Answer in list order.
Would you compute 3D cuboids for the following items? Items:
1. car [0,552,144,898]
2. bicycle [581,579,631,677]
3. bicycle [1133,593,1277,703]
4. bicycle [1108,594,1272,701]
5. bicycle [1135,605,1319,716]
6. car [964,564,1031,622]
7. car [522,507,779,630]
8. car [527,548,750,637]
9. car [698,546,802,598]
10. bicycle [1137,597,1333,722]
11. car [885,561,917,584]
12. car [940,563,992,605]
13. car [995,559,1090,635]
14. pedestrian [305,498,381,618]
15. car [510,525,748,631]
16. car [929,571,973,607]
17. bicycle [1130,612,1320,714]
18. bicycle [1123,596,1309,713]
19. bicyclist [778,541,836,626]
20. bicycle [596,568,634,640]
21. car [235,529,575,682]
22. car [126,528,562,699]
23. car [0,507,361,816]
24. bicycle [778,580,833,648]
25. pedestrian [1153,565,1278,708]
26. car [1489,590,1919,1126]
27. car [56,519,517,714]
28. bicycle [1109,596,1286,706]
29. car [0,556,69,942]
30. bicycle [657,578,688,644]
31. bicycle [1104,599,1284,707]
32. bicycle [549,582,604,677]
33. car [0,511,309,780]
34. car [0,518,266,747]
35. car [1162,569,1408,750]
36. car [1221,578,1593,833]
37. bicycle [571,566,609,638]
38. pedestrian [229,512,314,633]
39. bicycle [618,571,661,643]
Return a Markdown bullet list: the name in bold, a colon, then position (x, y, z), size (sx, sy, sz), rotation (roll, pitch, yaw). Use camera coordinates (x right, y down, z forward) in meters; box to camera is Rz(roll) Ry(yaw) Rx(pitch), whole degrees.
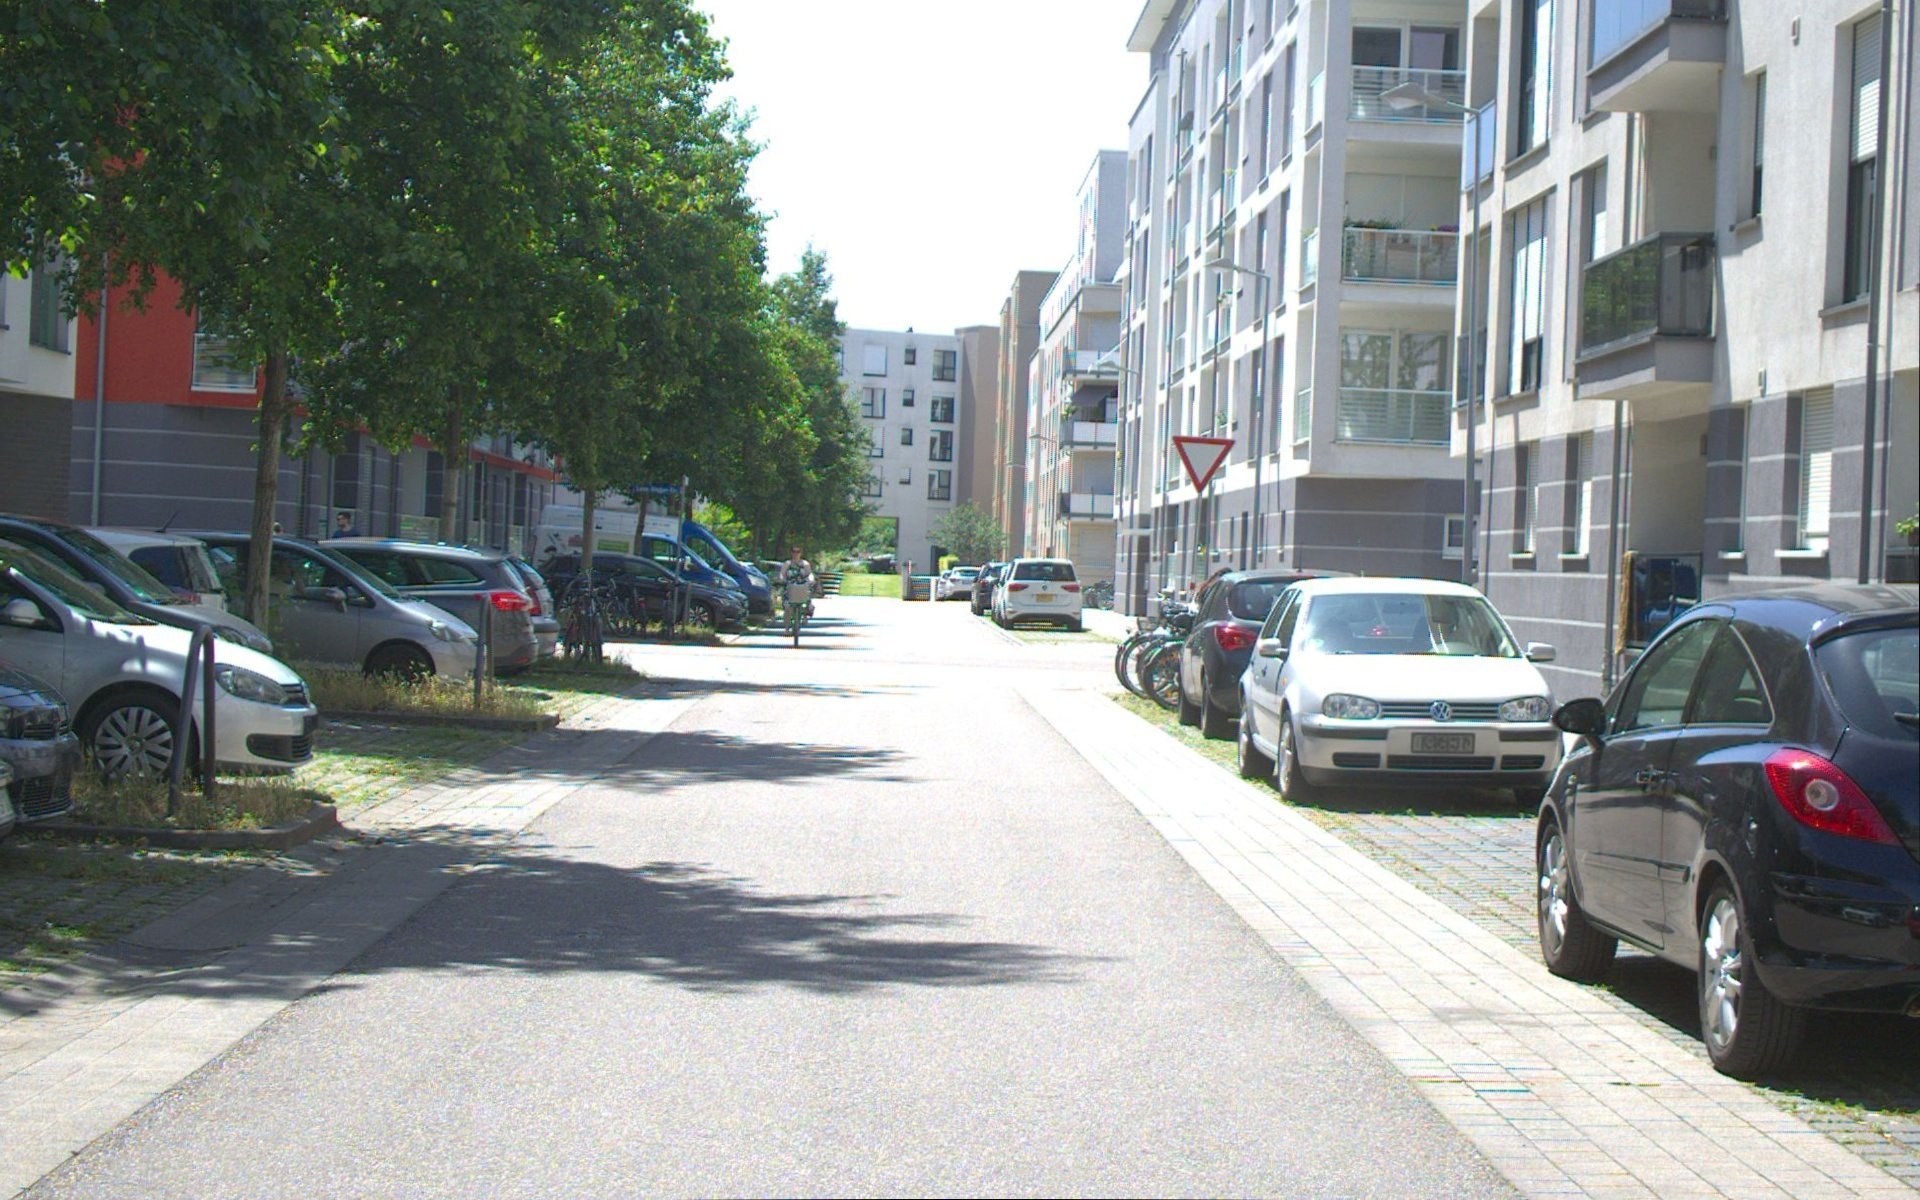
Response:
- **car**: position (-5.932, 0.400, 15.474), size (3.987, 1.417, 1.897), rotation (4, 1, 0)
- **bicycle**: position (-4.433, 0.337, 42.946), size (0.371, 1.176, 1.821), rotation (2, 1, -13)
- **bicycle**: position (2.798, 0.546, 39.369), size (1.550, 1.213, 0.708), rotation (1, 0, -2)
- **bicycle**: position (2.674, 0.546, 40.078), size (1.859, 1.189, 0.687), rotation (1, 0, 2)
- **bicycle**: position (2.768, 0.627, 35.776), size (1.786, 1.100, 0.747), rotation (1, 0, -4)
- **car**: position (1.101, -0.204, 98.922), size (1.757, 1.547, 4.000), rotation (3, 1, 2)
- **car**: position (-7.517, -0.775, 84.132), size (6.023, 2.807, 2.605), rotation (2, 0, -1)
- **car**: position (-6.647, -0.171, 71.528), size (4.383, 1.509, 2.075), rotation (4, 0, -1)
- **car**: position (-8.709, -1.156, 142.966), size (3.988, 2.007, 2.000), rotation (2, 0, 6)
- **bicycle**: position (2.794, 0.601, 35.029), size (1.869, 1.213, 0.715), rotation (1, 0, -4)
- **car**: position (-3.988, -1.854, 230.841), size (1.993, 1.514, 4.000), rotation (2, 1, -2)
- **car**: position (0.230, -0.701, 147.470), size (1.993, 1.669, 4.000), rotation (2, 1, -2)
- **car**: position (1.858, -0.091, 78.818), size (1.997, 1.651, 4.115), rotation (2, 1, 0)
- **pedestrian**: position (-10.568, -0.718, 58.885), size (1.009, 2.007, 1.129), rotation (2, 0, 2)
- **car**: position (-7.545, -0.520, 78.702), size (5.145, 2.112, 2.312), rotation (3, 1, -1)
- **car**: position (-0.474, -0.573, 174.695), size (1.993, 1.711, 4.000), rotation (2, 1, -2)
- **bicycle**: position (2.804, 0.667, 36.471), size (1.923, 1.031, 0.559), rotation (1, 0, -4)
- **bicycle**: position (2.758, 0.585, 37.132), size (1.923, 1.213, 0.461), rotation (1, 0, -10)
- **bicyclist**: position (-2.681, -0.296, 60.350), size (0.954, 1.454, 0.800), rotation (2, 0, -2)
- **bicycle**: position (-6.164, 0.065, 61.418), size (0.434, 1.200, 1.700), rotation (4, 2, 0)
- **car**: position (-6.479, 0.054, 40.402), size (3.630, 1.515, 1.832), rotation (4, 0, -1)
- **car**: position (-6.283, 0.145, 35.486), size (4.180, 1.481, 1.959), rotation (3, -1, -4)
- **car**: position (-5.805, 0.322, 20.013), size (4.360, 1.704, 2.000), rotation (0, 1, -3)
- **bicycle**: position (-2.709, 0.231, 60.339), size (0.898, 1.125, 2.040), rotation (2, 1, -2)
- **pedestrian**: position (2.763, 0.392, 37.258), size (1.178, 1.509, 0.688), rotation (1, 0, -10)
- **car**: position (2.998, 0.722, 11.676), size (1.642, 1.457, 4.118), rotation (1, 1, -2)
- **car**: position (-6.319, 0.141, 32.589), size (3.937, 1.548, 1.872), rotation (4, 1, -1)
- **bicycle**: position (2.680, 0.563, 38.686), size (1.924, 1.175, 0.638), rotation (1, 0, 8)
- **car**: position (-5.552, 0.440, 12.854), size (3.973, 1.440, 1.776), rotation (4, 0, -5)
- **bicycle**: position (-5.147, 0.187, 61.643), size (0.466, 1.138, 1.926), rotation (2, 1, -3)
- **bicycle**: position (2.593, 0.581, 38.080), size (1.924, 1.129, 0.609), rotation (1, 0, 8)
- **bicycle**: position (-4.794, 0.353, 42.914), size (0.433, 1.124, 1.979), rotation (2, 1, -13)
- **car**: position (-6.251, 0.211, 22.423), size (3.707, 1.580, 1.821), rotation (4, 0, -6)
- **car**: position (-6.815, 0.173, 25.420), size (2.932, 1.495, 1.848), rotation (5, 1, -2)
- **car**: position (2.893, 0.488, 31.383), size (1.738, 1.480, 4.229), rotation (1, 1, -1)
- **car**: position (2.880, 0.630, 23.064), size (1.834, 1.499, 4.351), rotation (1, 1, -1)
- **bicycle**: position (-6.633, 0.034, 61.666), size (0.518, 1.200, 1.752), rotation (4, 2, -3)
- **pedestrian**: position (-9.836, -0.389, 49.140), size (1.000, 1.684, 0.832), rotation (2, 0, 0)
- **bicycle**: position (-5.732, 0.113, 61.417), size (0.570, 1.170, 1.769), rotation (5, 2, -8)
